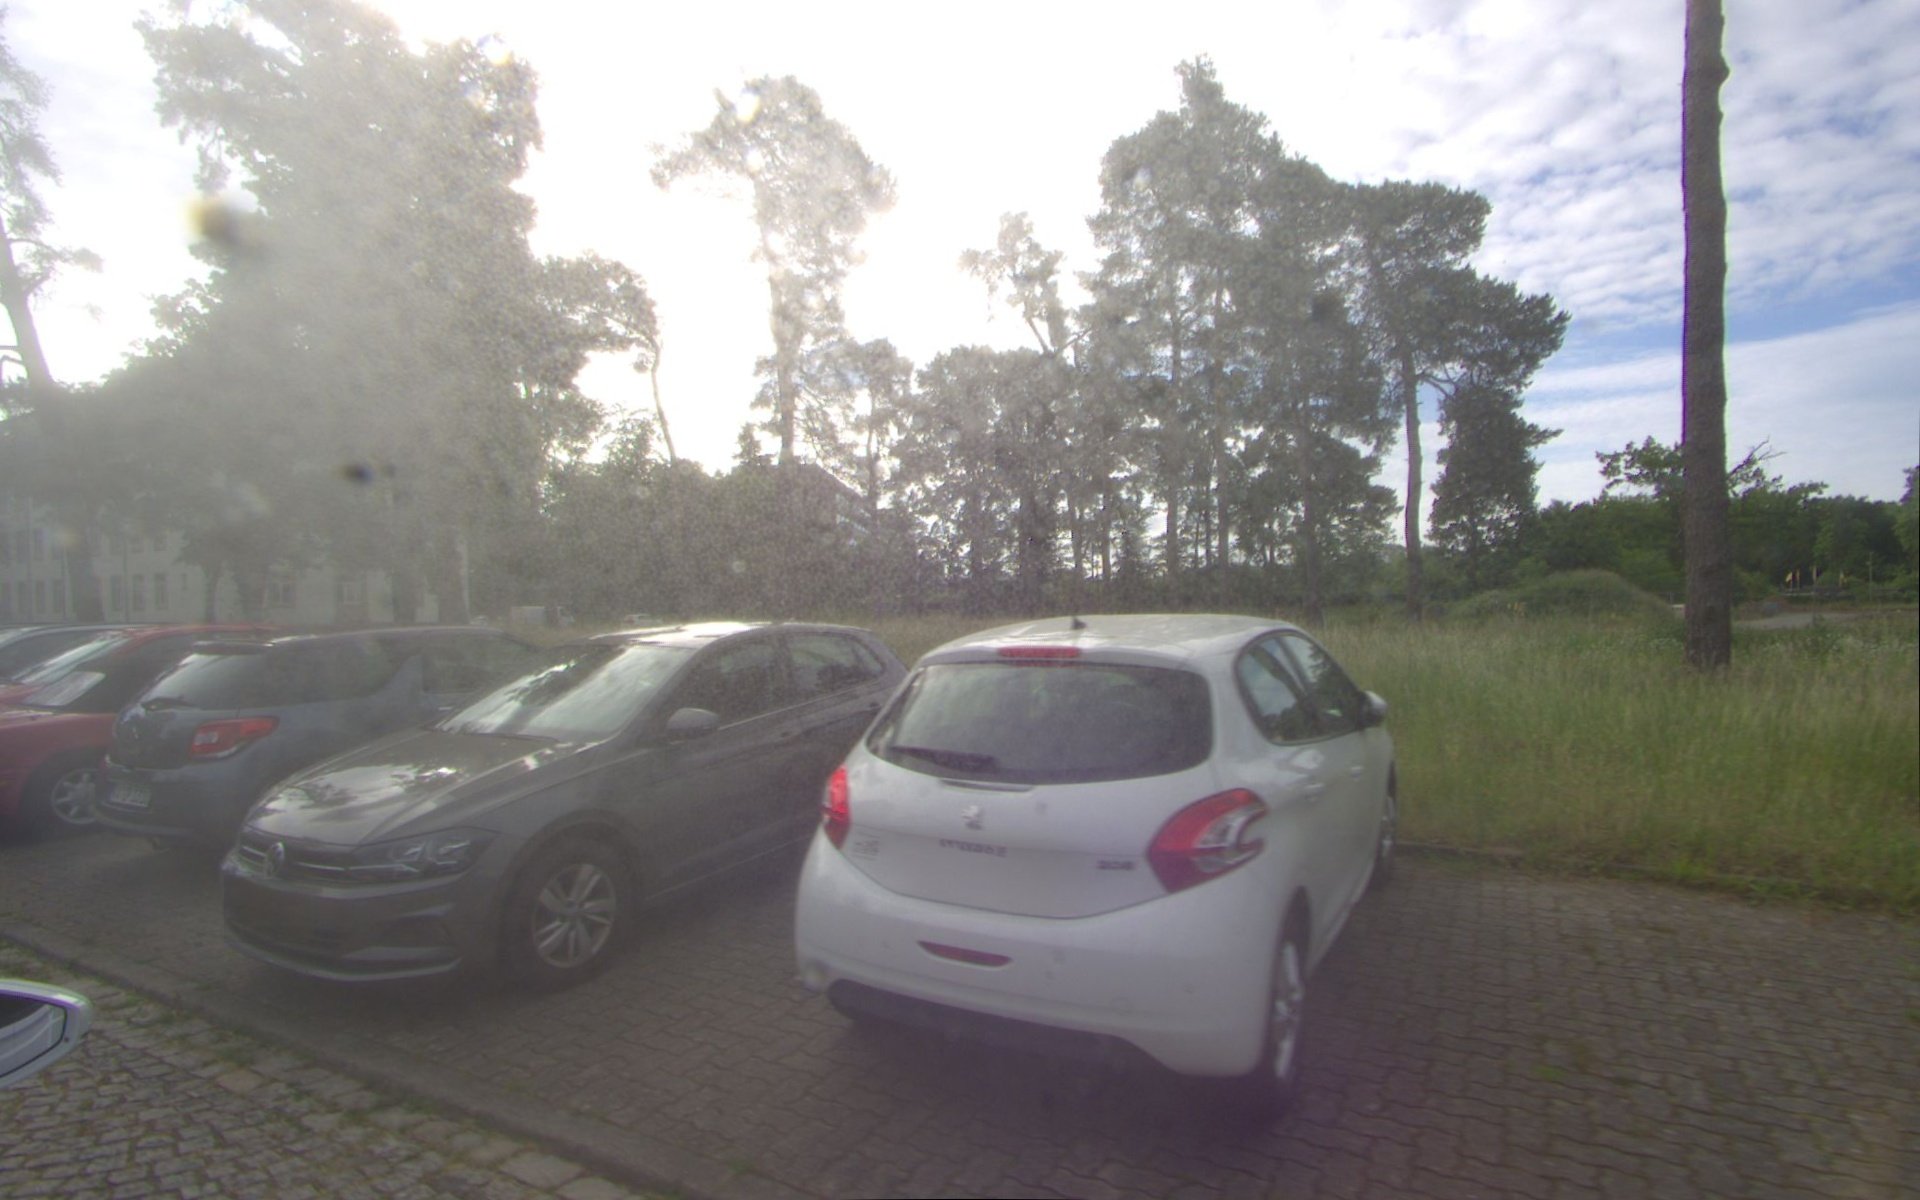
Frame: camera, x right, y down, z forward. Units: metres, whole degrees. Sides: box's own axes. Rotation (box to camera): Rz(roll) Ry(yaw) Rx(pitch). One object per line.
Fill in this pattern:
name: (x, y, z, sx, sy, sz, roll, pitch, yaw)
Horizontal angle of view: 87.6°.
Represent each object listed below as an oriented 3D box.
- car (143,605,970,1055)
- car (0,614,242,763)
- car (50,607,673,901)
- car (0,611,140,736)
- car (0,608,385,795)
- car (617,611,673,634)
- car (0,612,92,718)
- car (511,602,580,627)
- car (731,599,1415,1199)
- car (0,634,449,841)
car: (-1.699, 0.799, 5.629, 1.739, 1.466, 4.124, 0, 1, 30)
car: (-10.392, 0.926, 10.659, 1.725, 1.456, 4.187, 0, 0, 22)
car: (-4.006, 0.840, 7.291, 1.716, 1.507, 3.501, 0, 1, 29)
car: (-12.751, 0.932, 12.024, 1.679, 1.499, 4.234, -1, 0, 19)
car: (-8.172, 0.872, 9.866, 1.658, 1.496, 4.101, 0, 1, 27)
car: (-25.280, 1.849, 80.541, 1.872, 1.826, 4.128, -1, -2, 31)
car: (-14.740, 0.948, 13.622, 1.606, 1.483, 4.135, 0, 1, 24)
car: (-35.032, 1.280, 84.753, 2.074, 2.045, 5.295, -1, -2, 30)
car: (0.902, 0.774, 4.421, 1.739, 1.498, 3.648, 0, 1, 29)
car: (-6.409, 0.982, 8.288, 1.604, 1.239, 3.580, 0, 1, 30)
